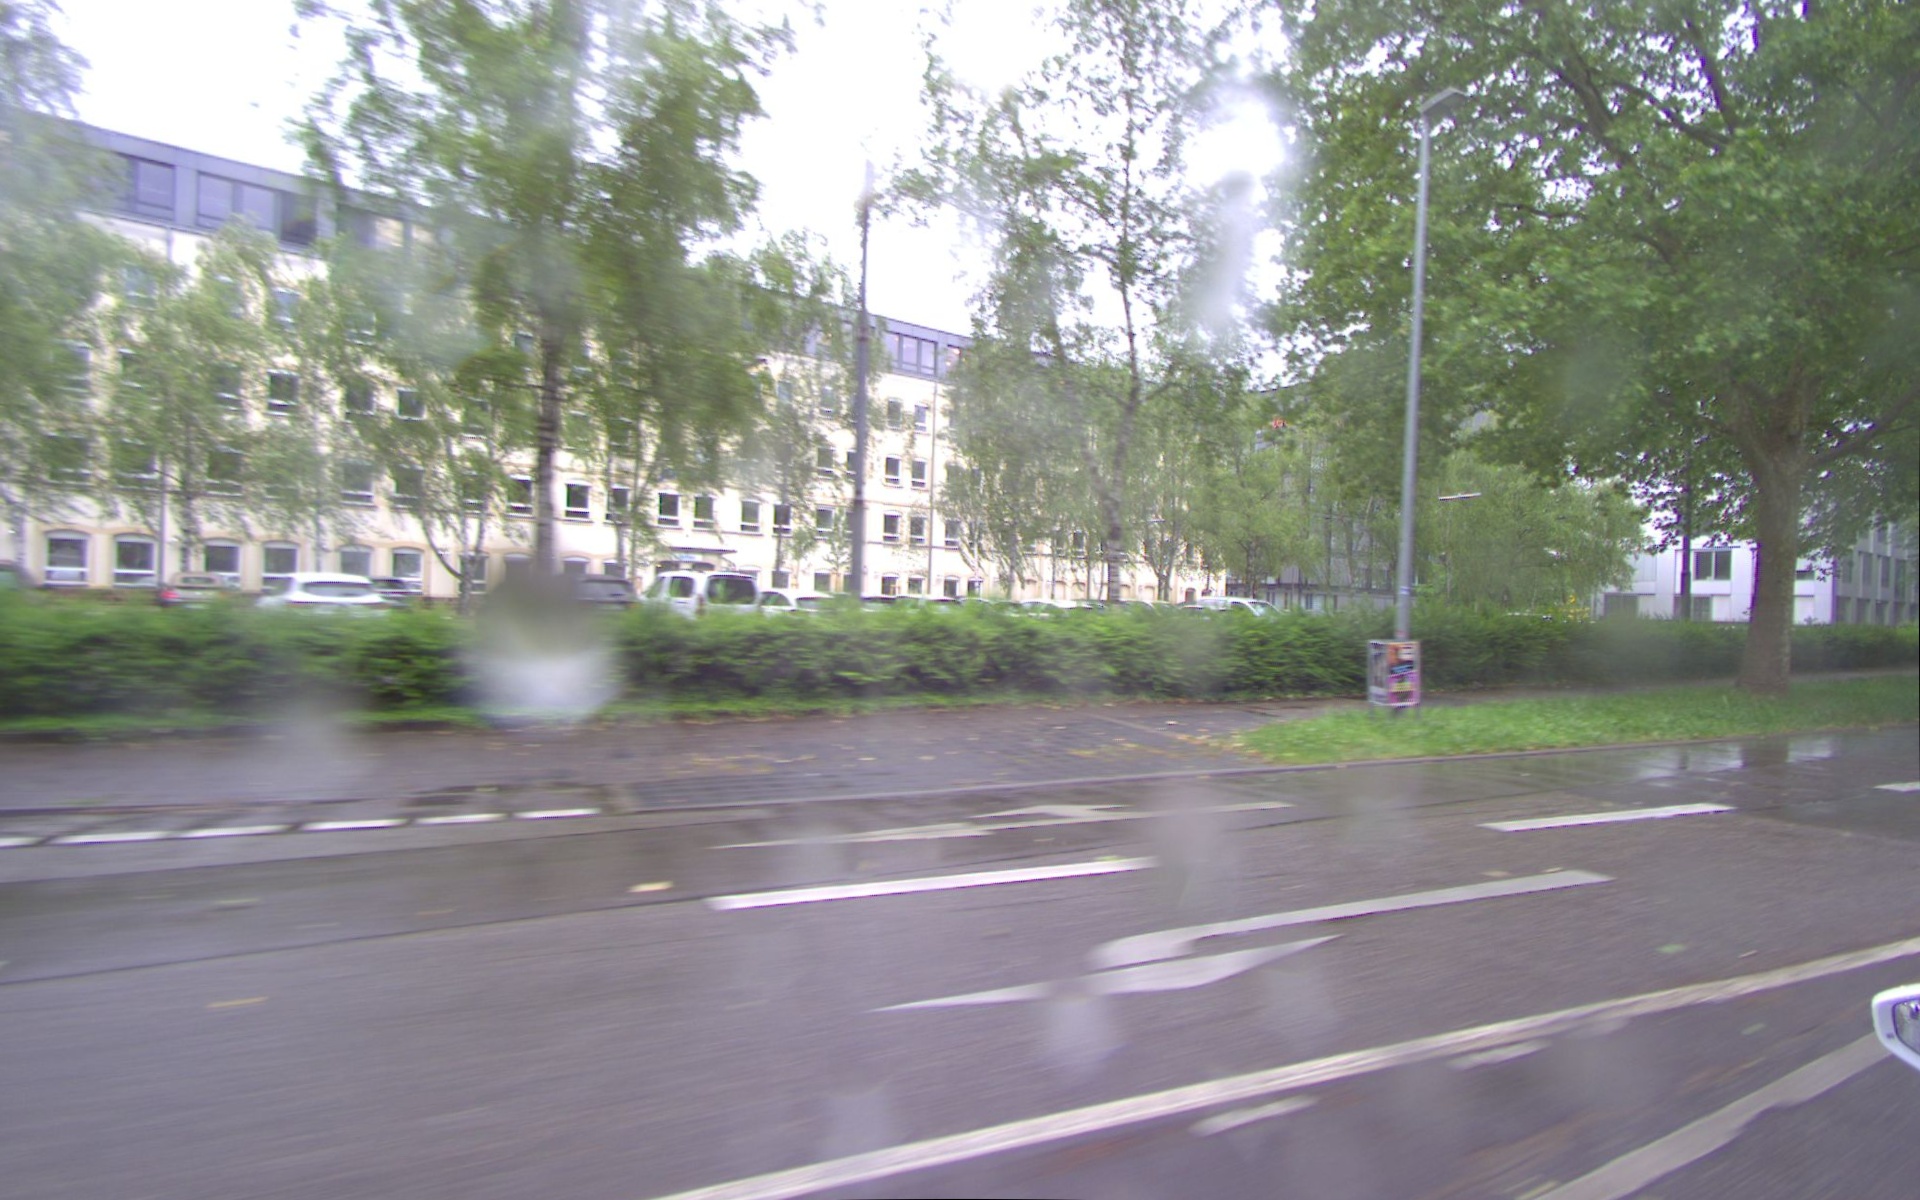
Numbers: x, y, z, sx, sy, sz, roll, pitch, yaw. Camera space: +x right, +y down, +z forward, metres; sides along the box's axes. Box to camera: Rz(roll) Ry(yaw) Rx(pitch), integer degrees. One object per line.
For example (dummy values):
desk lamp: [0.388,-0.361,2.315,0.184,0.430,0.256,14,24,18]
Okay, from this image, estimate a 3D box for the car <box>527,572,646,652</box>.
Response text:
car: [-8.675,0.220,23.162,1.691,1.660,3.962,1,1,-34]

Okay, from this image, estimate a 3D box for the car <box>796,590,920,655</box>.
car: [-2.945,0.583,28.400,1.835,1.620,3.962,1,1,-34]

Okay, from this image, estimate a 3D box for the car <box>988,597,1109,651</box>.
car: [2.791,0.731,32.484,1.865,1.571,3.965,2,0,-32]

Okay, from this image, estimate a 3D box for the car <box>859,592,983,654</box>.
car: [-1.220,0.630,29.698,1.835,1.620,3.962,1,1,-34]

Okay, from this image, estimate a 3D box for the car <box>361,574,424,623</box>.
car: [-19.846,-0.054,35.038,1.633,1.574,3.963,2,0,-33]

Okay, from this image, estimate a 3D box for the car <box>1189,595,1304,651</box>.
car: [10.963,0.858,38.659,1.979,2.040,3.963,1,-1,-33]

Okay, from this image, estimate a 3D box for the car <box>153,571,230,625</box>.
car: [-24.297,-0.073,31.858,1.764,1.572,3.960,2,0,-36]

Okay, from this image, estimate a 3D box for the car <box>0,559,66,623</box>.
car: [-27.289,-0.256,28.844,1.981,1.708,3.959,1,-1,-36]

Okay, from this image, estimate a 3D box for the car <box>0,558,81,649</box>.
car: [-15.363,0.019,15.353,1.692,1.356,3.978,1,1,-23]

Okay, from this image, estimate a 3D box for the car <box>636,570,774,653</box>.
car: [-6.304,0.222,24.588,1.838,1.857,3.956,1,1,-38]

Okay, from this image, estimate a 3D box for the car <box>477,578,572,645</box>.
car: [-12.038,0.265,27.631,1.691,1.683,3.962,1,1,-34]

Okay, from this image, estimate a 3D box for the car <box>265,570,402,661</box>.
car: [-12.847,0.249,20.502,1.982,1.660,3.956,1,1,-38]

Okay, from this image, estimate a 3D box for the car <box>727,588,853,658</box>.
car: [-4.513,0.557,26.317,1.703,1.620,3.778,1,1,-37]

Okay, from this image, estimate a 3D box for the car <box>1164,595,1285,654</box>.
car: [9.546,0.857,36.534,1.979,2.040,3.963,1,-1,-33]

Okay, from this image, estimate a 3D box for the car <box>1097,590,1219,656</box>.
car: [6.820,0.765,34.966,1.979,2.161,3.964,1,-1,-33]
